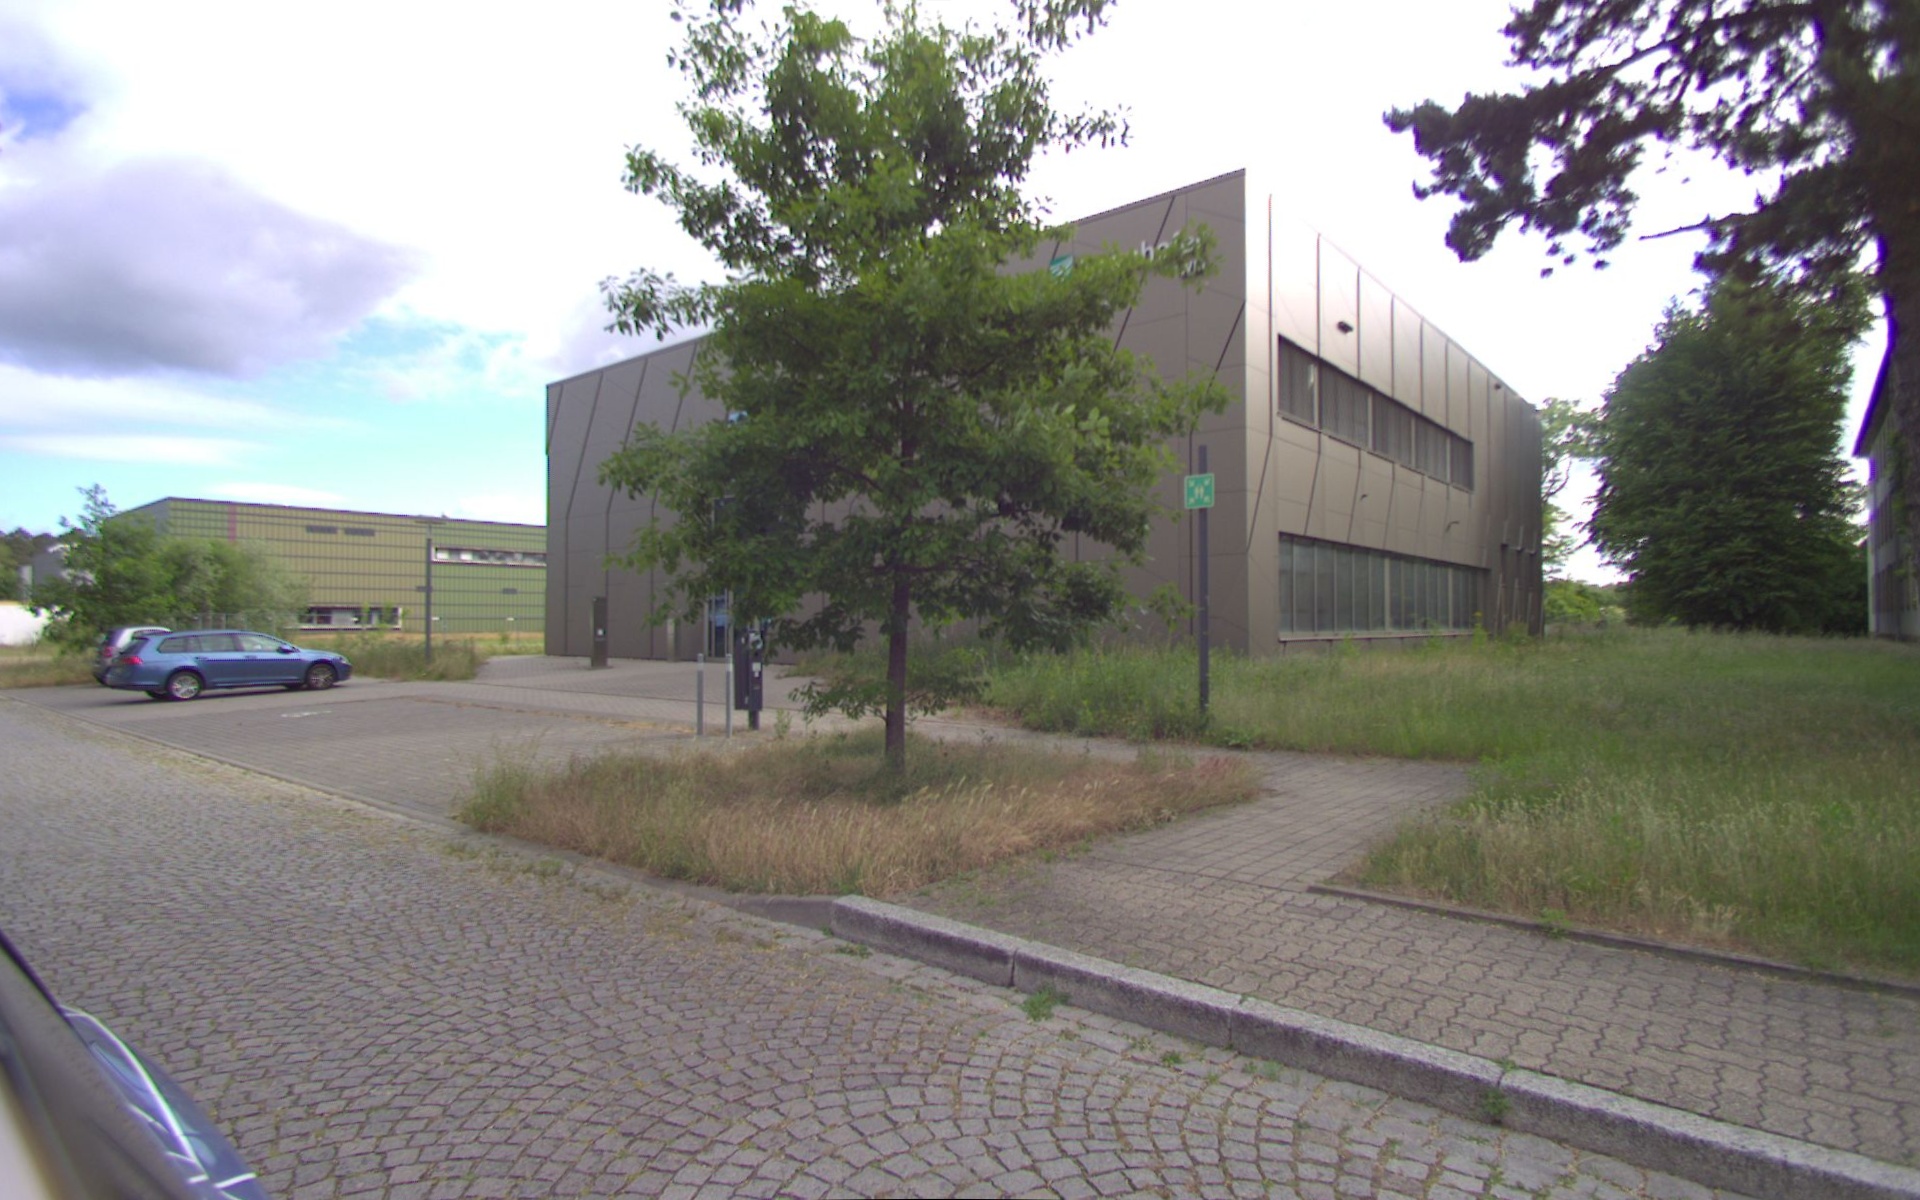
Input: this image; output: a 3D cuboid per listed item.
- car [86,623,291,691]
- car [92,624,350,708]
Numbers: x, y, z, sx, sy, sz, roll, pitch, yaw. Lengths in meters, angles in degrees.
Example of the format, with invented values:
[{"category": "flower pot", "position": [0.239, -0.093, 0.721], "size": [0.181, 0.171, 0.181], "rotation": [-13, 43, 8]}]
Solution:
[{"category": "car", "position": [-21.363, 1.512, 28.132], "size": [4.341, 1.557, 1.843], "rotation": [-2, 0, -44]}, {"category": "car", "position": [-16.405, 1.392, 22.681], "size": [1.714, 1.521, 4.352], "rotation": [-1, 0, 37]}]
